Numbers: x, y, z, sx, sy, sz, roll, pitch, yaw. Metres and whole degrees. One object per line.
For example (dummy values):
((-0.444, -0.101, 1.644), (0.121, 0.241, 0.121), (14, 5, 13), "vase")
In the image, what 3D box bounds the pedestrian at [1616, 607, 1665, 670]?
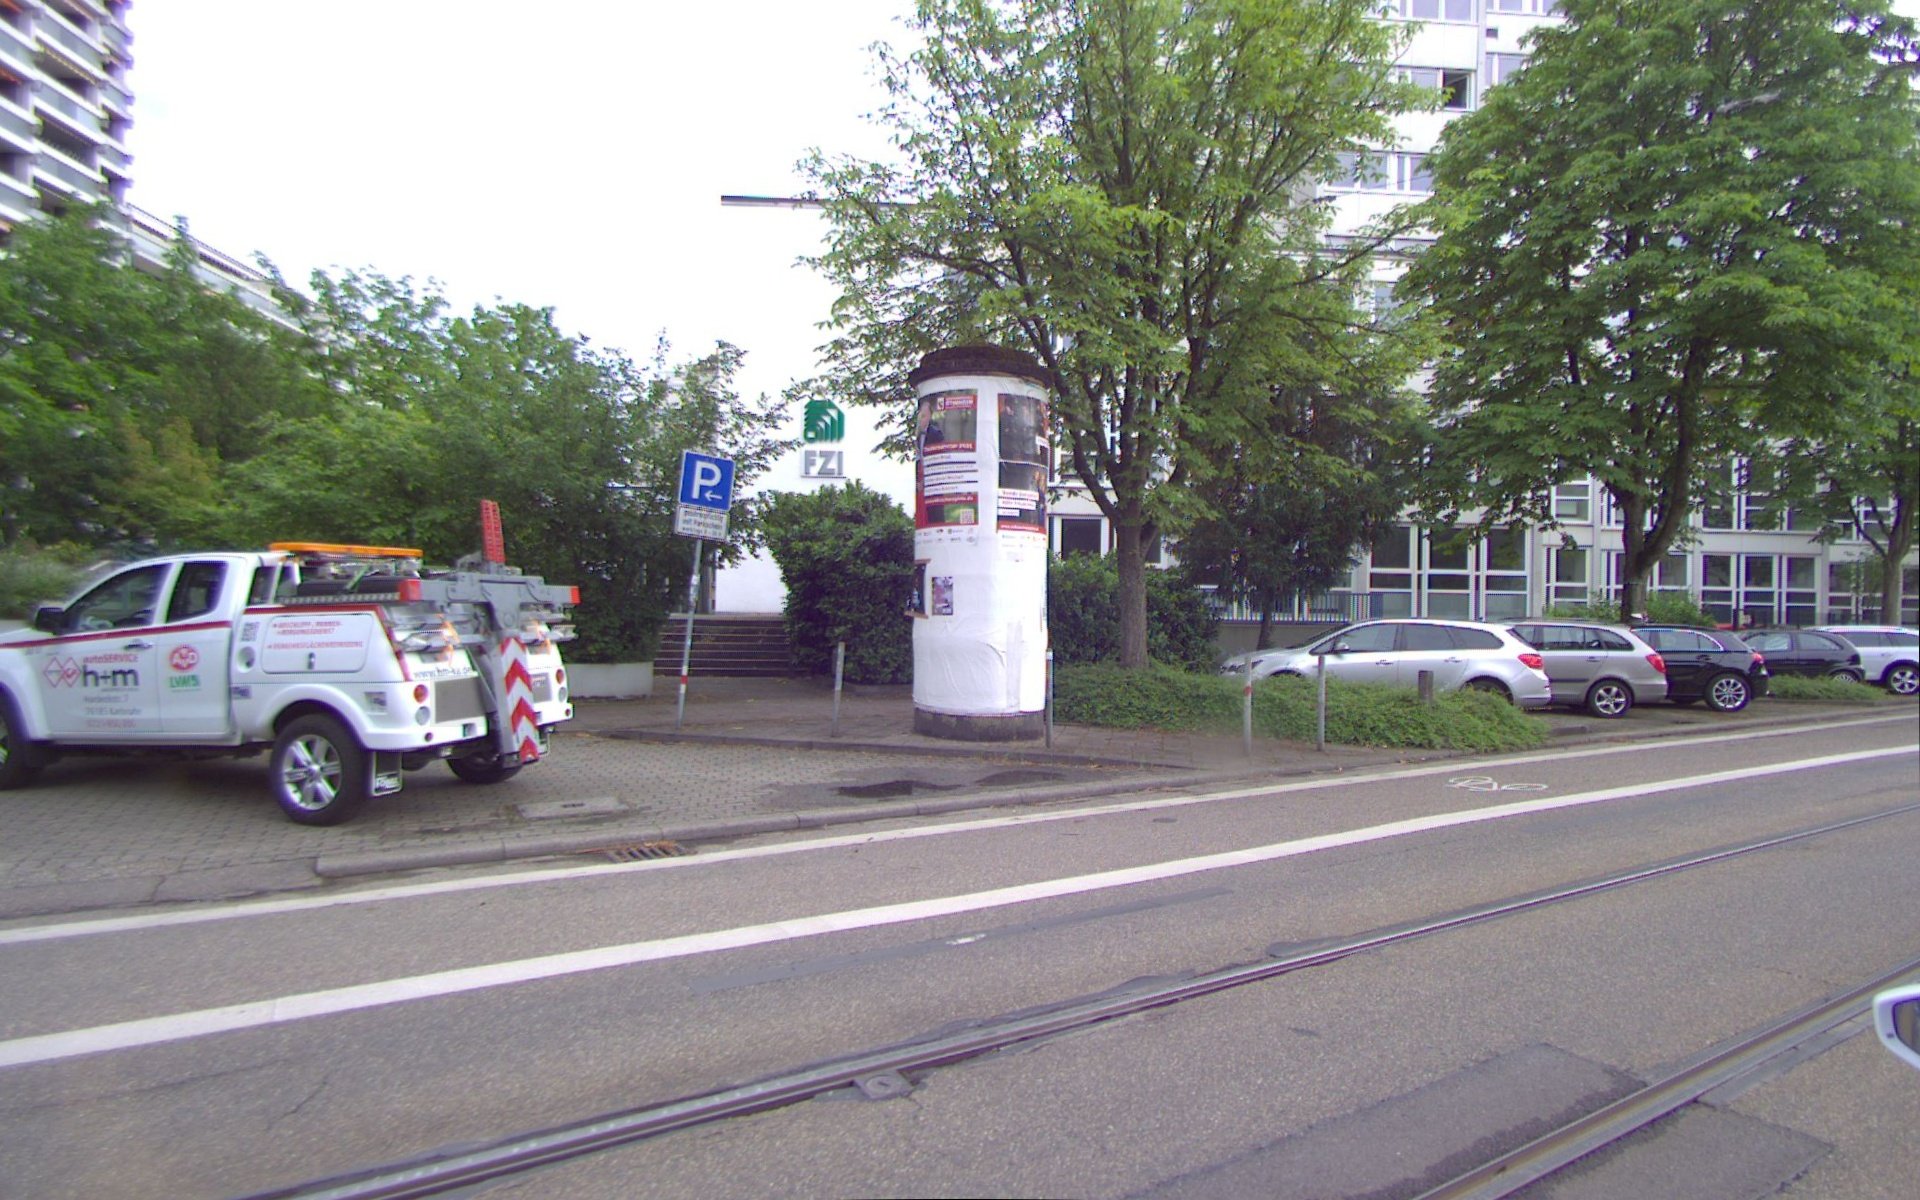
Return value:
((18.498, 1.042, 27.301), (0.720, 1.633, 0.754), (3, 0, -7), "pedestrian")

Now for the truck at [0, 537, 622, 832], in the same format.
((-5.464, 0.501, 7.993), (4.962, 1.873, 2.001), (1, 0, 15), "truck")

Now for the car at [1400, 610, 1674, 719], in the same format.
((9.295, 0.995, 16.477), (3.578, 1.544, 1.573), (1, 0, 15), "car")

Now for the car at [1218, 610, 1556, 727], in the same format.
((6.174, 0.948, 15.031), (4.342, 1.484, 1.805), (1, 0, 10), "car")

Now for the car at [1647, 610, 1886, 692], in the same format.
((17.343, 1.052, 21.790), (3.631, 1.544, 1.700), (1, 0, 15), "car")

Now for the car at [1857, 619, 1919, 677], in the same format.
((28.476, 1.388, 28.470), (4.258, 1.577, 1.701), (1, 0, 11), "car")

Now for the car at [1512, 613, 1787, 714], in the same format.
((12.070, 1.062, 17.853), (3.631, 1.544, 1.700), (1, 0, 15), "car")

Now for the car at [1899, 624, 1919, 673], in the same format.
((31.190, 1.525, 29.986), (4.259, 1.473, 1.701), (1, 0, 14), "car")

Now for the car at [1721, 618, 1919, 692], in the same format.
((20.387, 1.244, 23.347), (3.950, 1.504, 1.699), (1, 0, 22), "car")

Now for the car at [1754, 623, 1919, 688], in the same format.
((22.539, 1.365, 25.027), (3.950, 1.424, 1.699), (1, 0, 22), "car")
